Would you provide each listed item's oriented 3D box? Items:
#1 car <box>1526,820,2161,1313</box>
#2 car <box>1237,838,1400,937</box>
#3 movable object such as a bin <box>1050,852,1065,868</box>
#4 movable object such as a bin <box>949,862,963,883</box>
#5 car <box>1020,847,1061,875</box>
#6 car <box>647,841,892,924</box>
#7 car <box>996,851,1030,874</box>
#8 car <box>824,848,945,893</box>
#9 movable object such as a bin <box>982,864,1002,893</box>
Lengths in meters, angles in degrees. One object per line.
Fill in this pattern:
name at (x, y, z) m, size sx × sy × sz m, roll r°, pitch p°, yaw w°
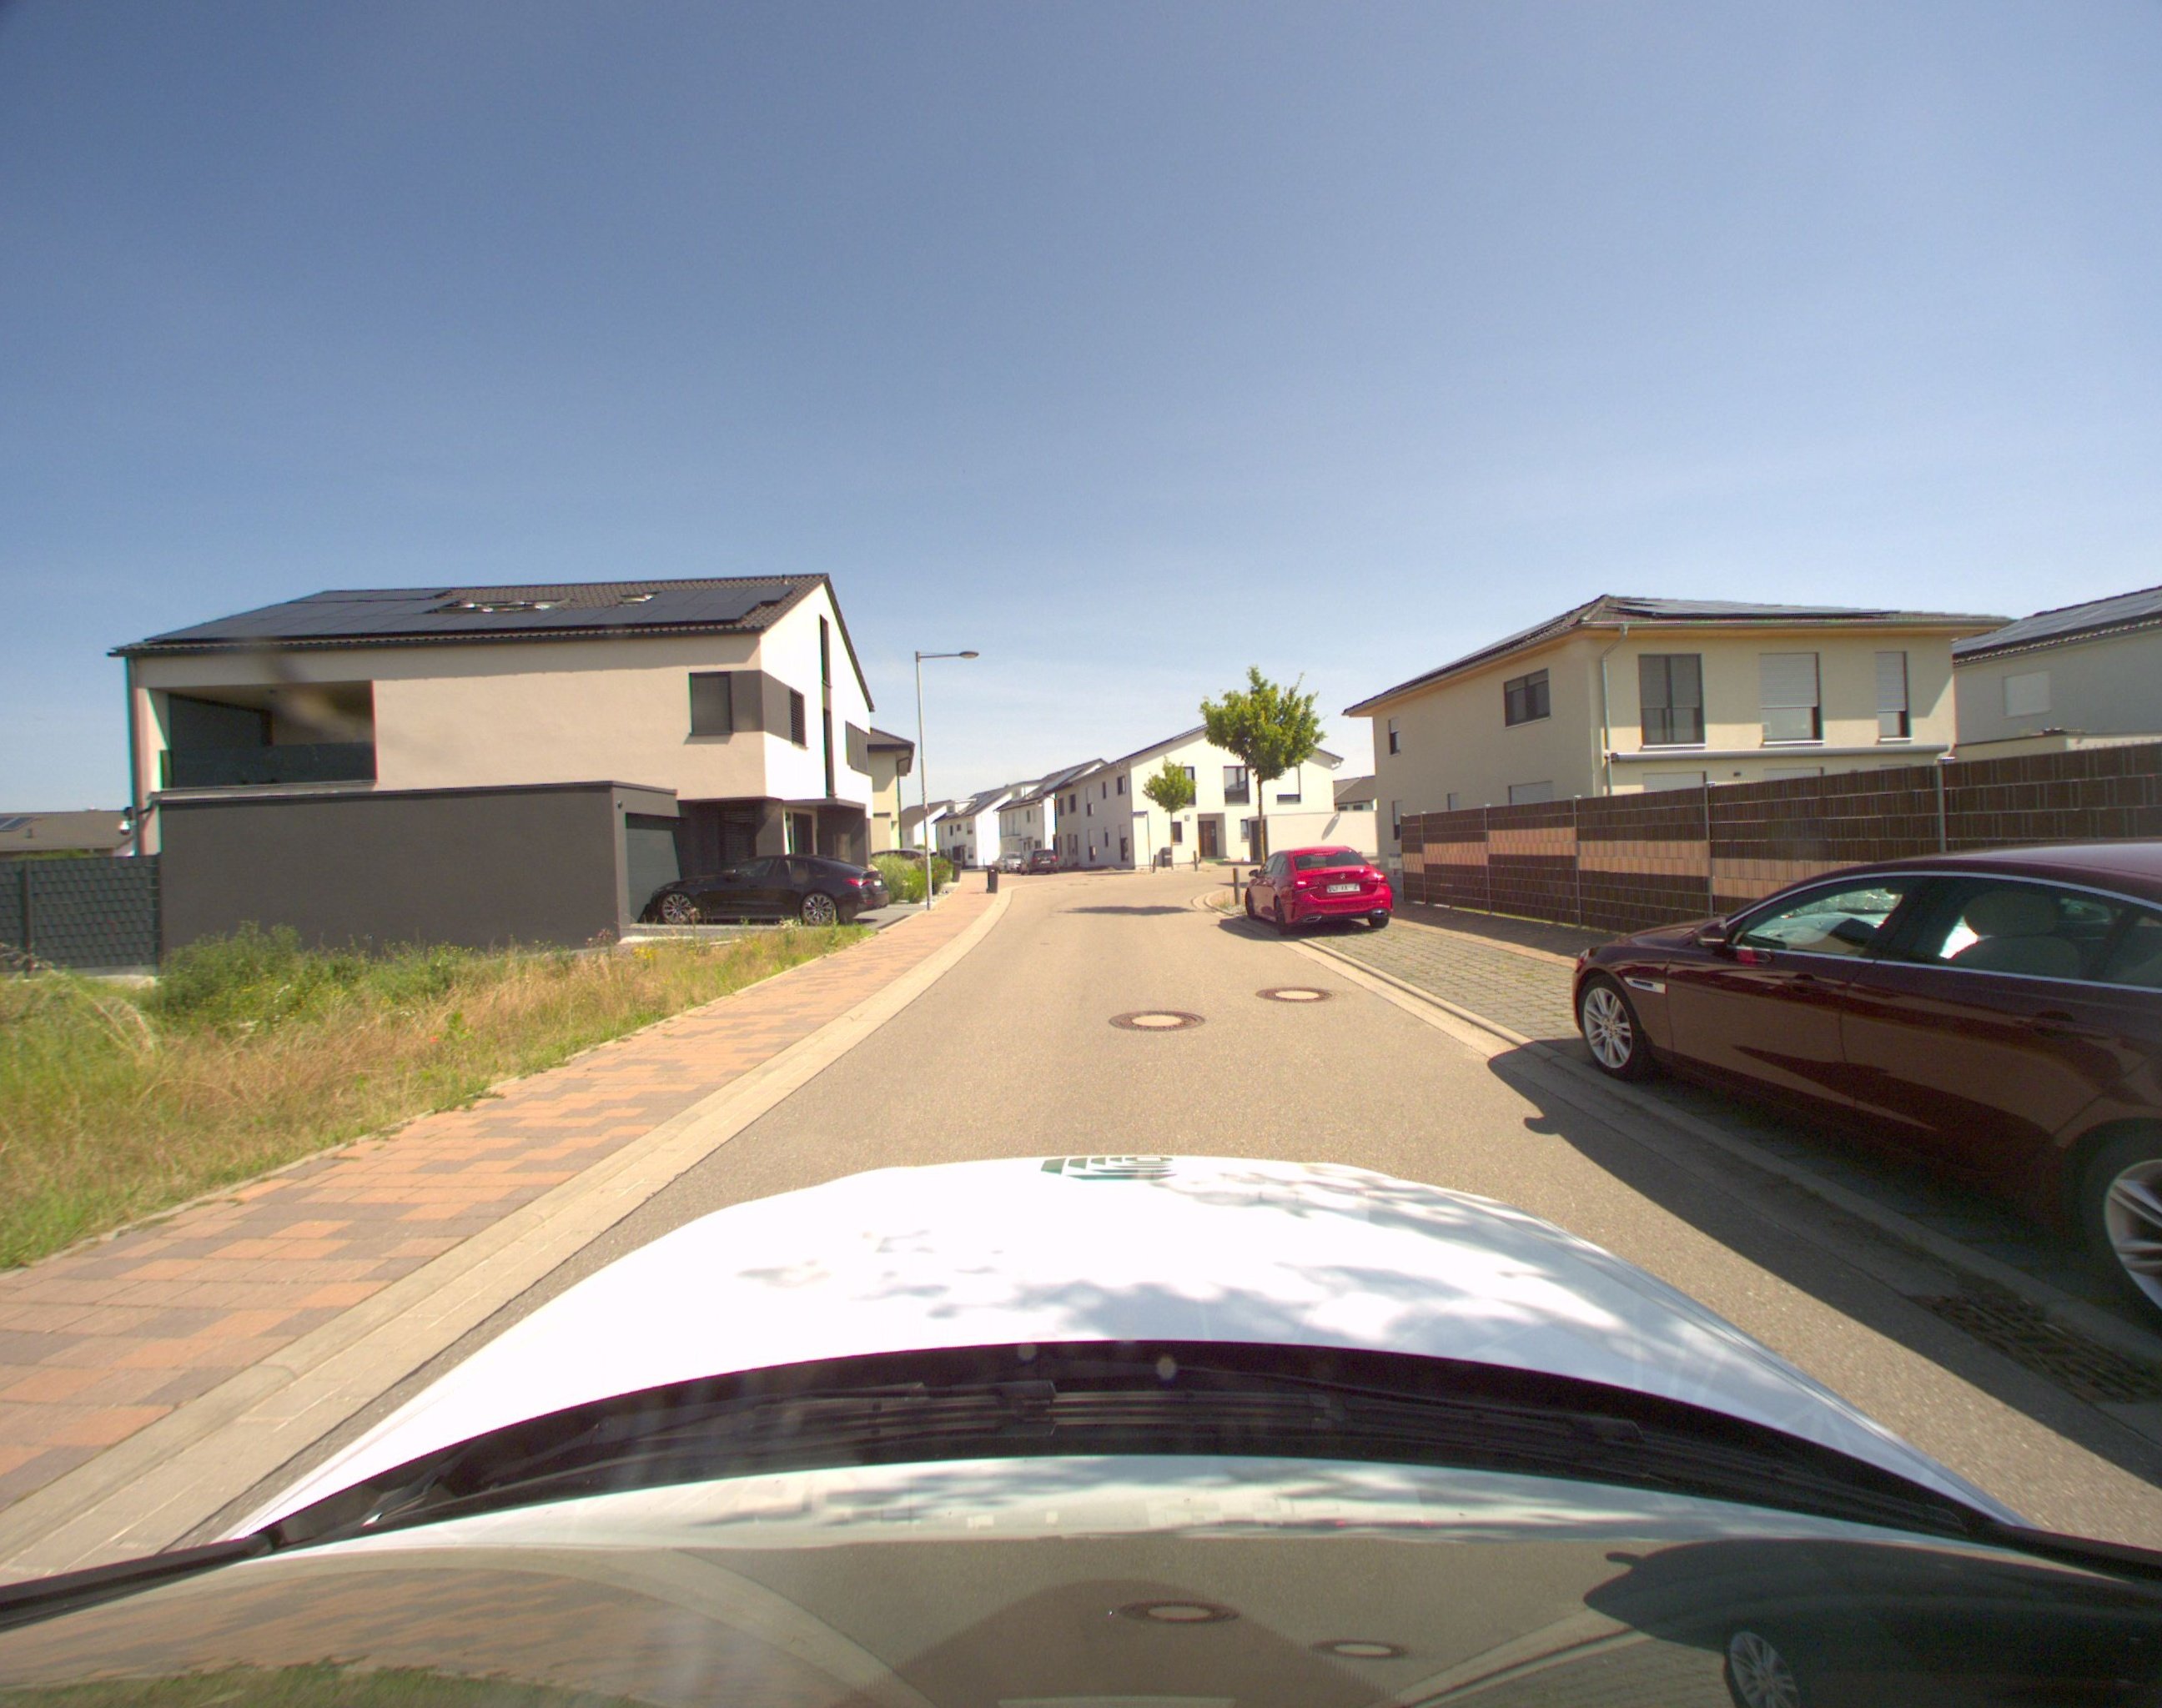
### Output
car at (3.996, 0.575, 3.578) m, size 1.747 × 1.363 × 4.580 m, roll -3°, pitch 0°, yaw 3°
car at (4.137, 0.510, 14.974) m, size 1.756 × 1.438 × 4.522 m, roll -4°, pitch 0°, yaw 2°
movable object such as a bin at (-1.642, 0.430, 56.934) m, size 0.786 × 1.049 × 0.800 m, roll -5°, pitch 1°, yaw -16°
movable object such as a bin at (-5.470, 0.794, 35.638) m, size 0.615 × 0.927 × 0.422 m, roll 0°, pitch -1°, yaw -11°
car at (-2.380, 0.400, 46.957) m, size 1.728 × 1.422 × 3.984 m, roll -3°, pitch 0°, yaw -11°
car at (-6.304, 0.556, 16.856) m, size 4.362 × 1.631 × 1.770 m, roll 0°, pitch 0°, yaw 0°
car at (-4.732, 0.561, 56.452) m, size 1.679 × 1.464 × 3.925 m, roll -3°, pitch 0°, yaw -14°
car at (-7.195, 0.577, 30.062) m, size 3.972 × 1.486 × 1.755 m, roll -2°, pitch 0°, yaw 1°
movable object such as a bin at (-2.956, 0.807, 27.108) m, size 0.531 × 0.936 × 0.527 m, roll -1°, pitch 0°, yaw 9°
